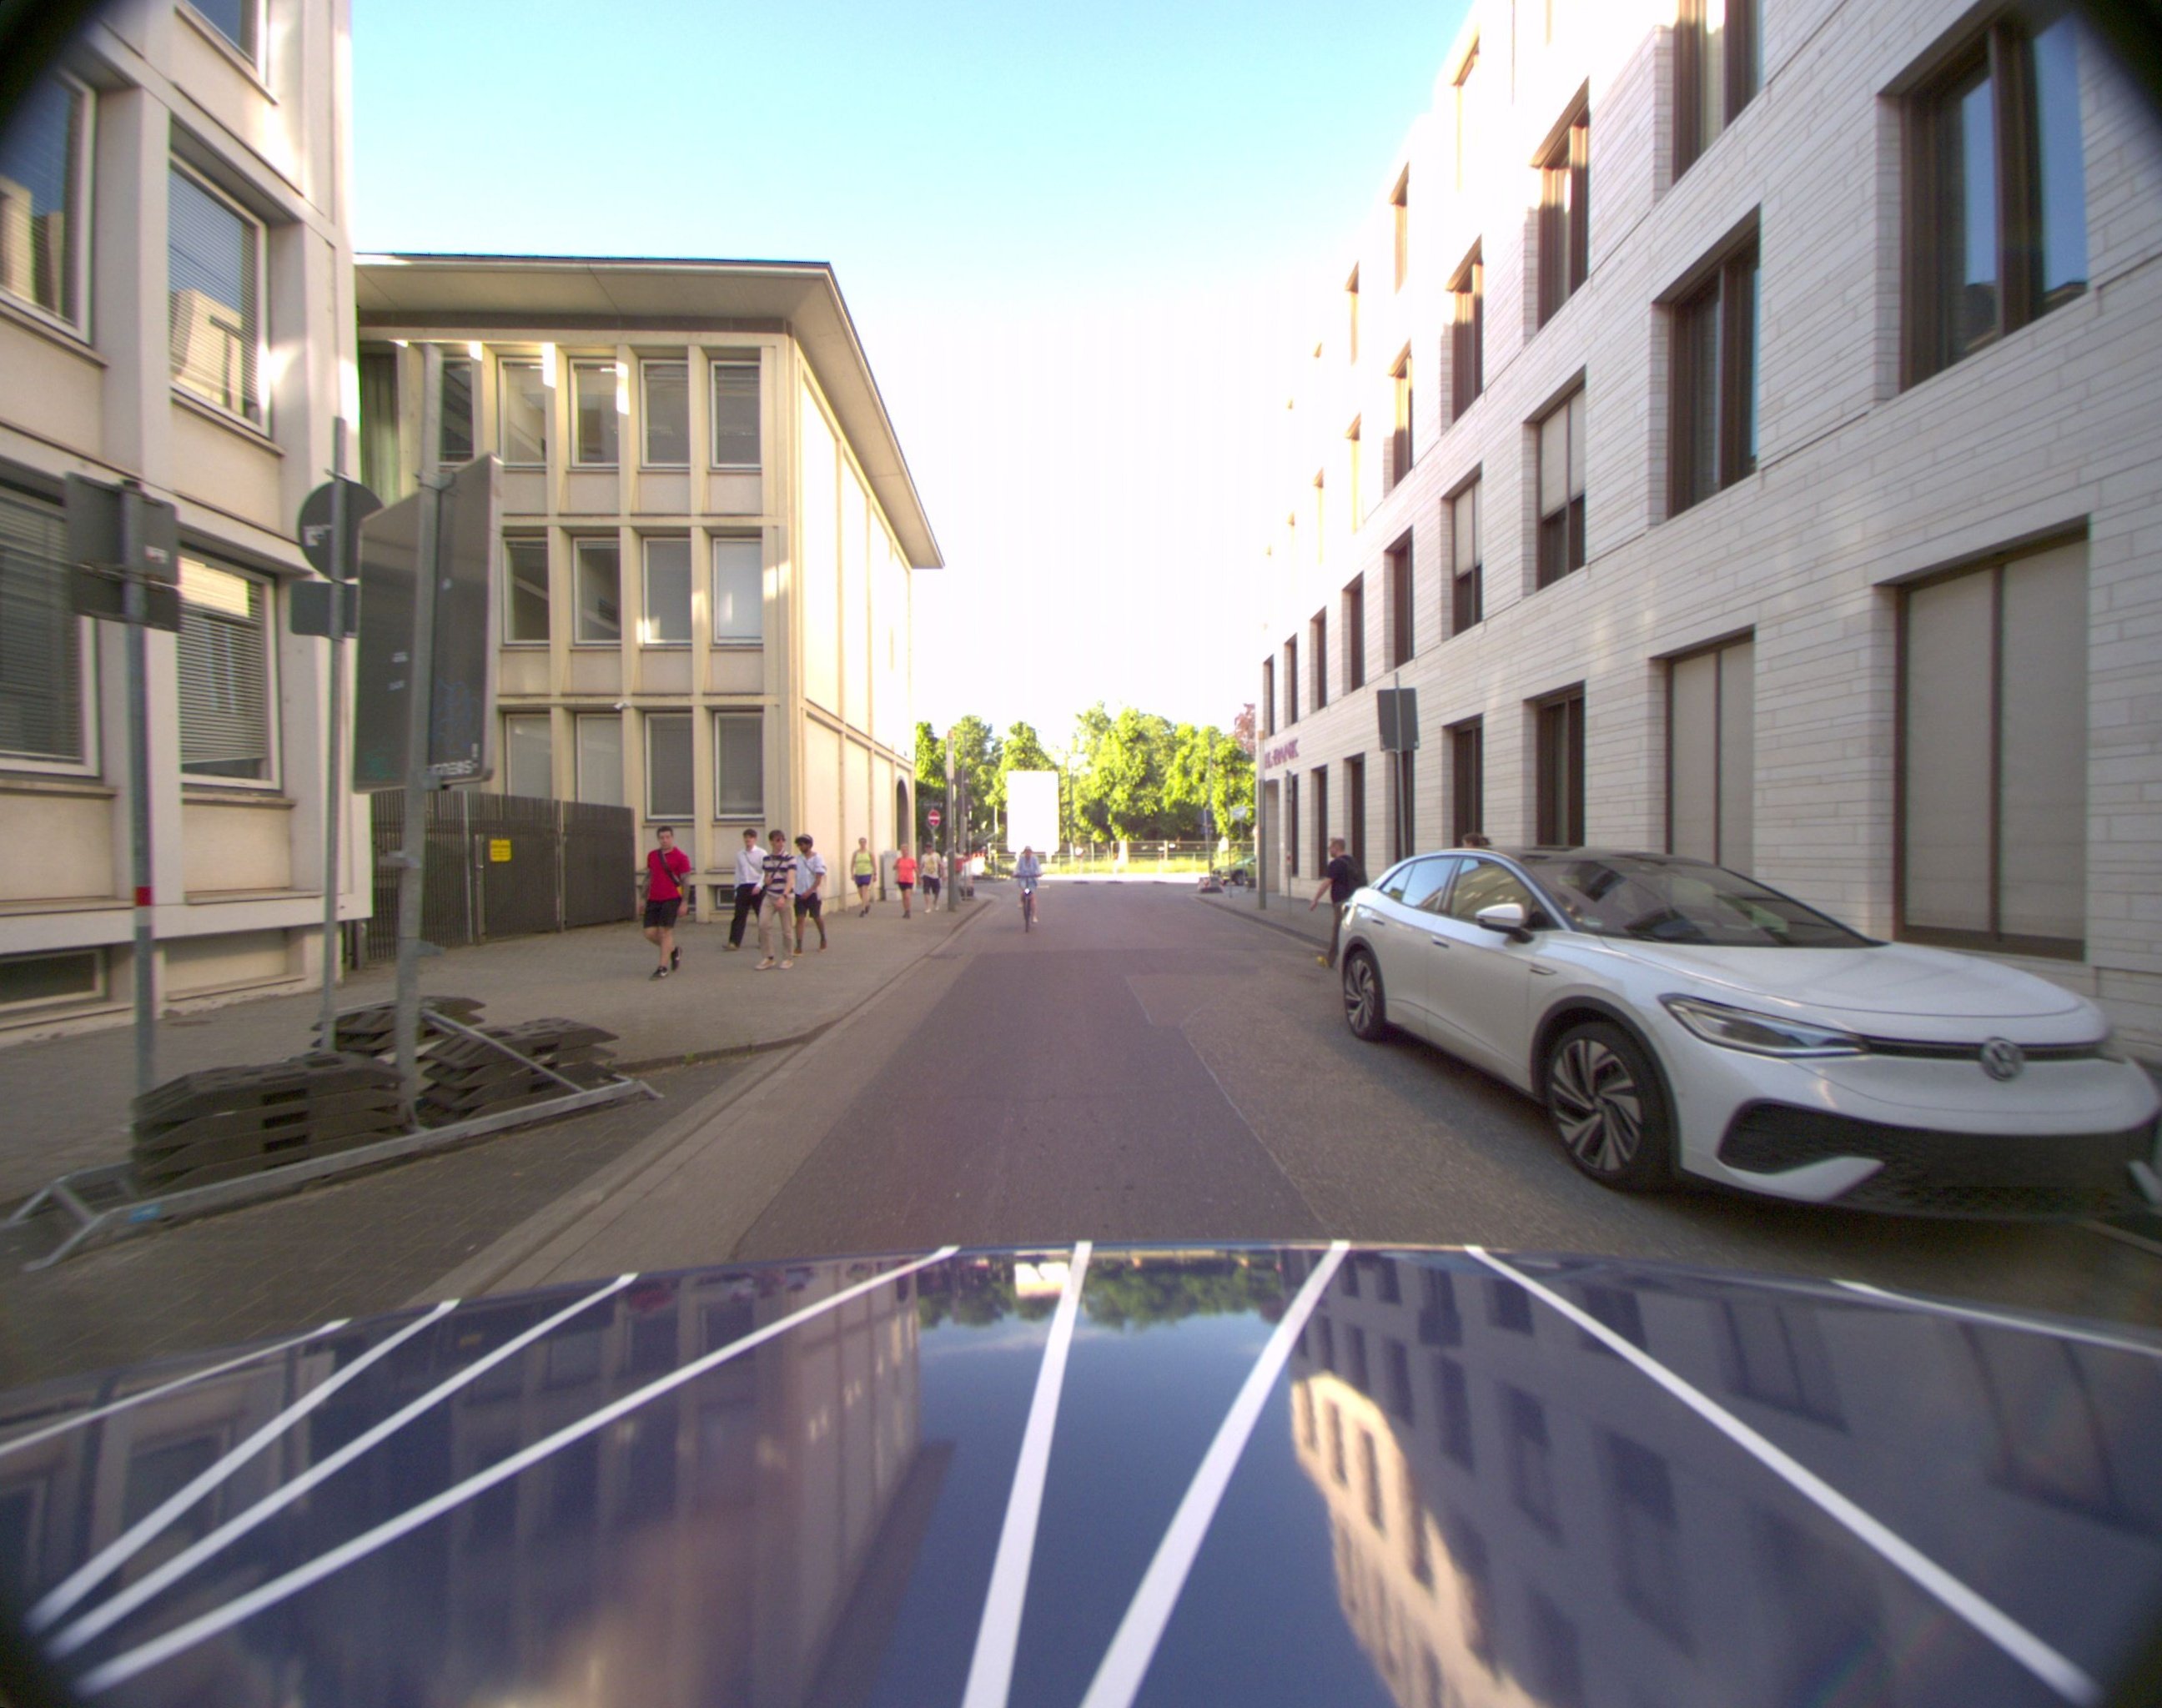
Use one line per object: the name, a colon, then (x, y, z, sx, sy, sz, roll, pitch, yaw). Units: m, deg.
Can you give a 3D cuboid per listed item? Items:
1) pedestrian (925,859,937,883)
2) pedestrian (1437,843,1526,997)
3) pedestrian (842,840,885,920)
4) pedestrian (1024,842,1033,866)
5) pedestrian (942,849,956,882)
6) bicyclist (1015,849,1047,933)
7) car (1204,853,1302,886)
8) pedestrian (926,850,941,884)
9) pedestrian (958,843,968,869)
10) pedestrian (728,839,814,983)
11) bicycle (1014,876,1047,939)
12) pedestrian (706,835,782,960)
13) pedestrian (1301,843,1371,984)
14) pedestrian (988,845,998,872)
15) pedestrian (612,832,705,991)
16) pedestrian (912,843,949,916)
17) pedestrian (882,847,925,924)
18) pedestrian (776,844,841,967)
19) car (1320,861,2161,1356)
pedestrian: (-7.378, 0.831, 37.417, 0.535, 1.170, 0.622, -2, 2, -7)
pedestrian: (4.890, 0.769, 9.309, 0.645, 1.780, 0.816, -1, 2, -1)
pedestrian: (-4.783, 0.560, 16.705, 0.685, 1.706, 0.693, 2, 1, 0)
pedestrian: (-3.844, -0.003, 55.734, 0.623, 1.773, 0.626, -2, 2, -7)
pedestrian: (-6.606, 0.558, 38.007, 0.626, 1.605, 0.622, -2, 2, -7)
bicyclist: (-1.022, 0.756, 15.620, 0.586, 1.679, 0.538, -1, 2, -3)
car: (8.708, 0.738, 38.472, 4.440, 1.451, 1.996, -2, 2, -19)
pedestrian: (-7.127, 0.629, 36.792, 0.626, 1.633, 0.622, -2, 2, -7)
pedestrian: (-8.266, 0.158, 53.290, 0.626, 1.773, 0.622, -2, 2, -7)
pedestrian: (-4.019, 0.716, 9.896, 0.685, 1.768, 0.693, 5, 1, 0)
bicycle: (-1.026, 1.057, 15.633, 0.595, 1.077, 2.309, -1, 1, -3)
pedestrian: (-5.068, 0.635, 11.466, 0.685, 1.768, 0.693, 5, 1, 0)
pedestrian: (3.331, 0.764, 9.984, 0.643, 1.780, 0.575, 2, 2, -1)
pedestrian: (-6.105, 0.302, 52.462, 0.626, 1.773, 0.622, -2, 2, -7)
pedestrian: (-4.921, 0.647, 8.882, 0.685, 1.768, 0.593, 3, 1, 0)
pedestrian: (-3.618, 0.597, 18.276, 0.685, 1.706, 0.693, 2, 1, 0)
pedestrian: (-3.904, 0.673, 16.729, 0.685, 1.627, 0.693, 4, 1, 0)
pedestrian: (-4.075, 0.747, 11.414, 0.685, 1.768, 0.693, 2, 1, 0)
car: (3.141, 0.845, 4.668, 1.827, 1.532, 4.445, 1, 0, -2)
